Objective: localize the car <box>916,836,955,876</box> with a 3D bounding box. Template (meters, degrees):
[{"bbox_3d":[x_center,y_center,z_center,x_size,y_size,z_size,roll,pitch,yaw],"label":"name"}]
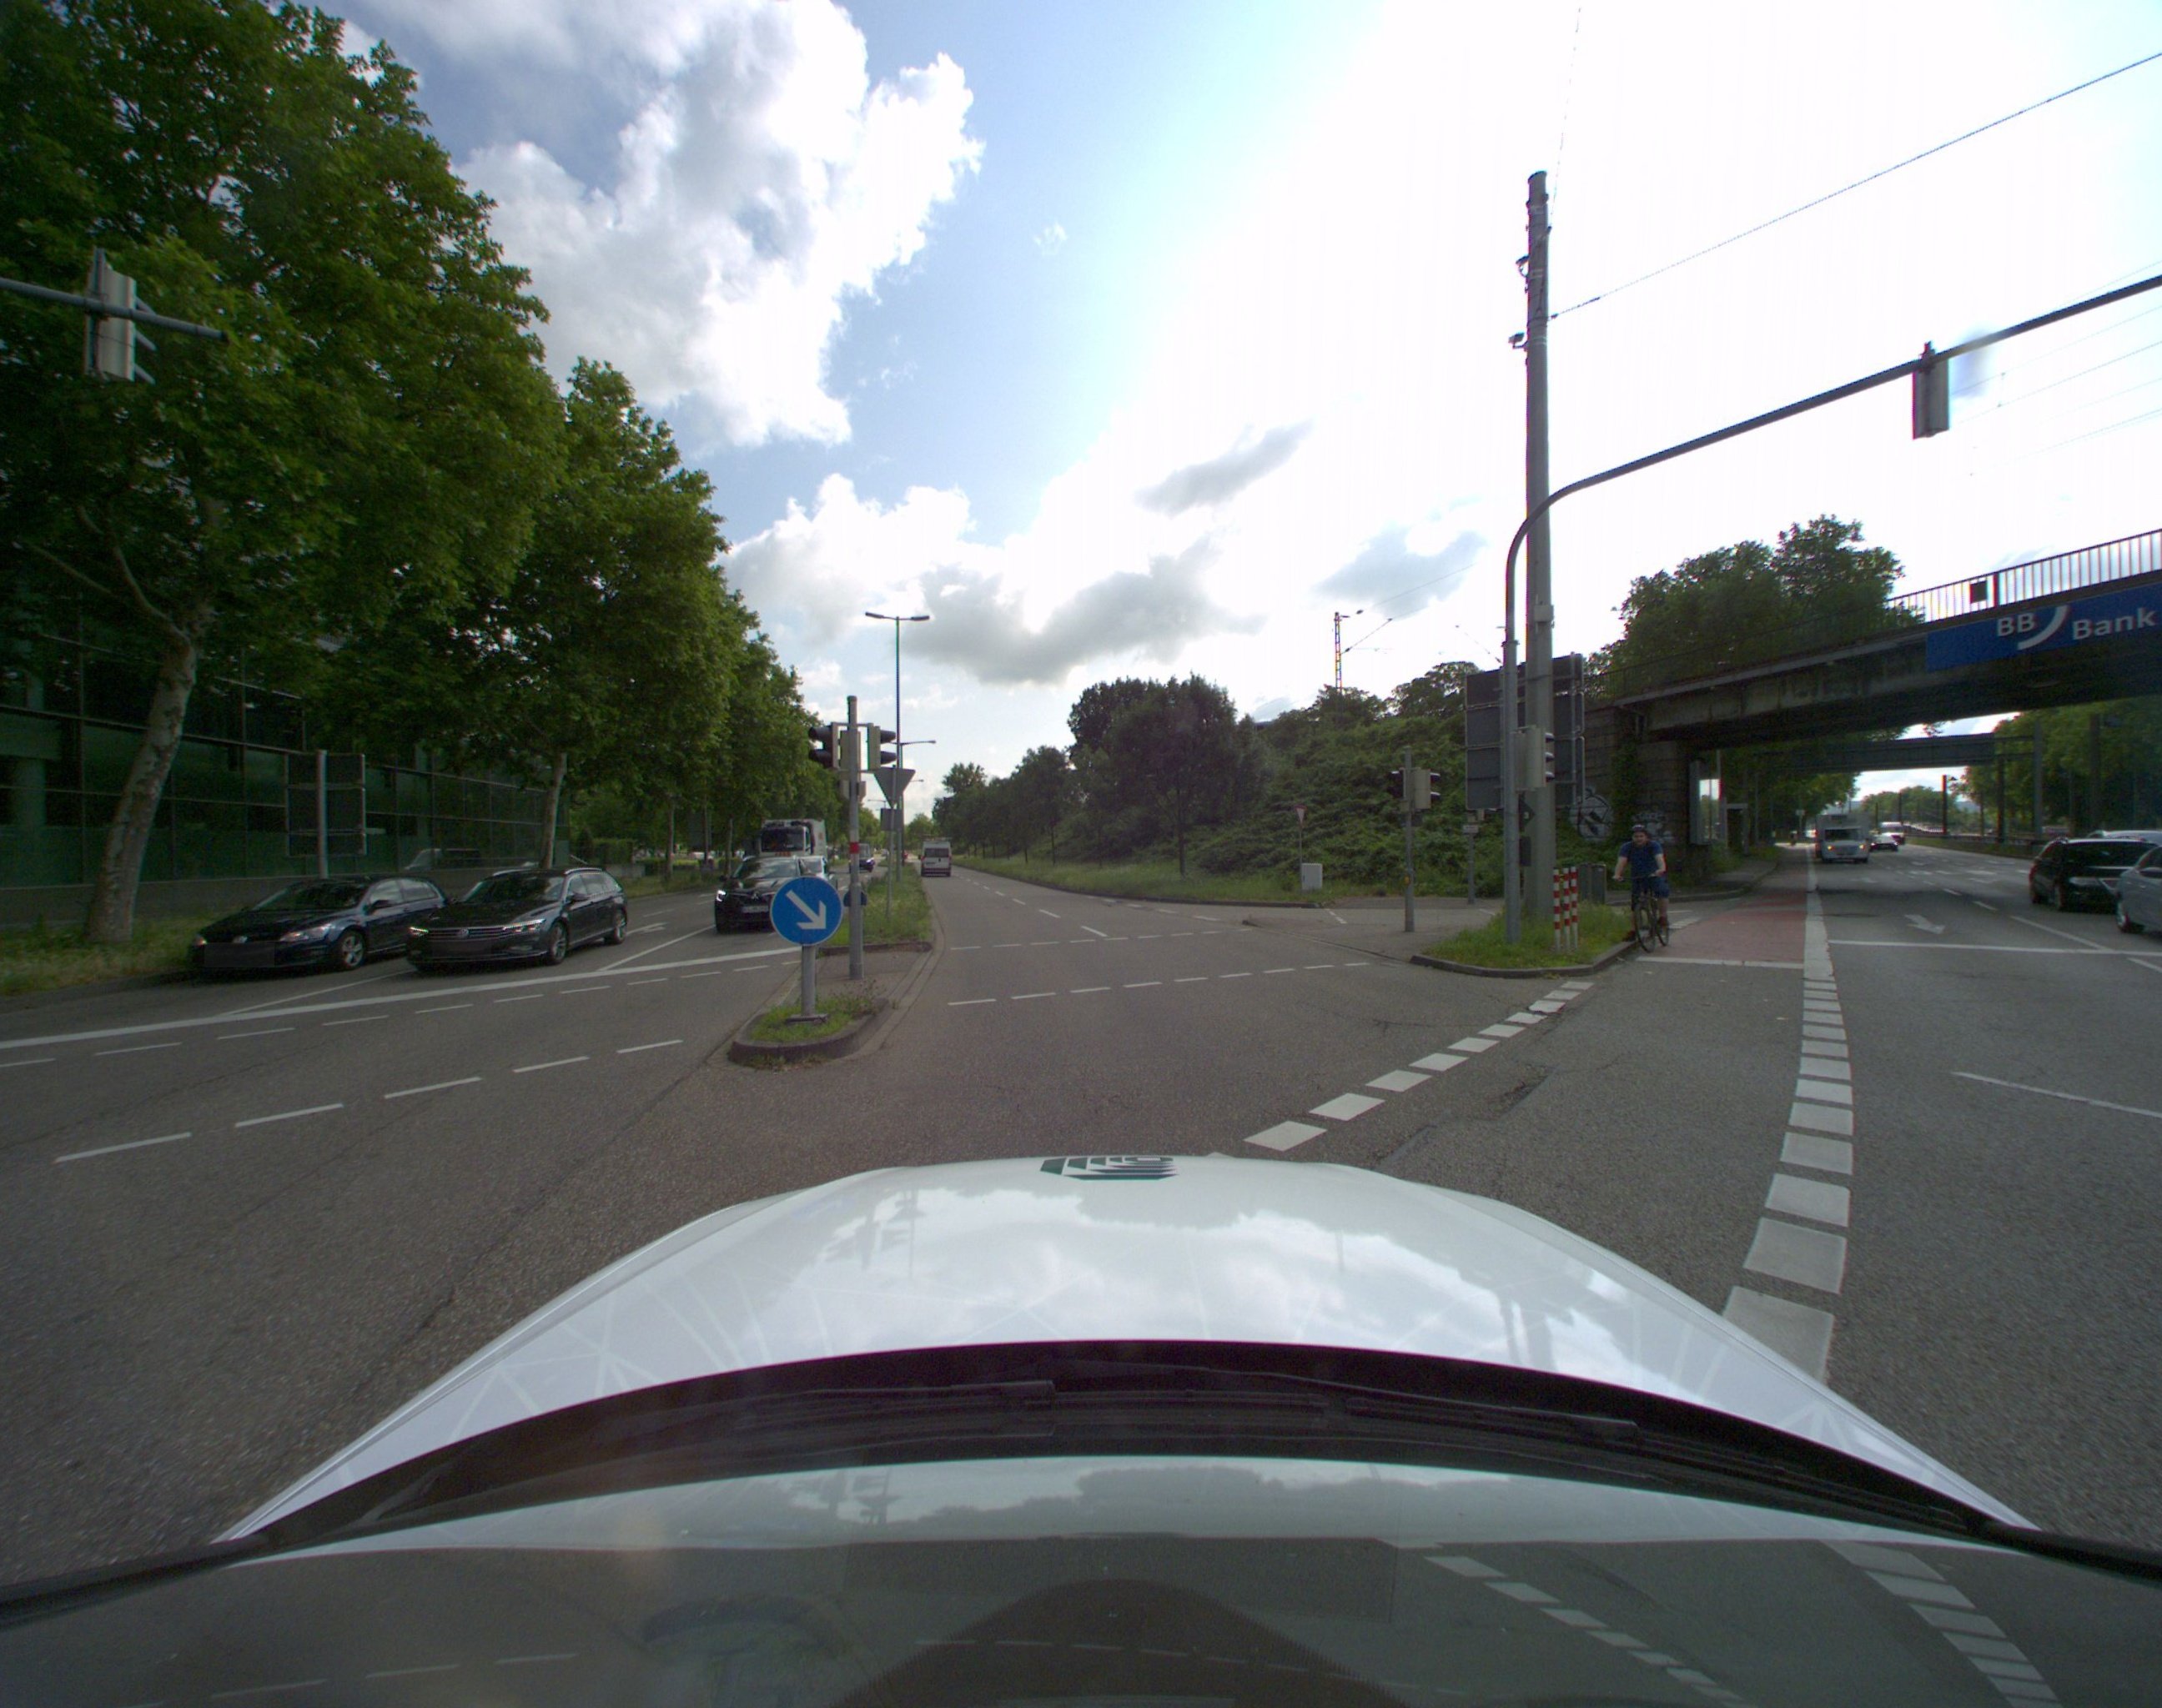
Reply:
[{"bbox_3d":[-10.463,0.135,58.253,2.202,2.726,4.905,-2,0,-16],"label":"car"}]

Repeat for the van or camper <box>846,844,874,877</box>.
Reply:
[{"bbox_3d":[-20.105,0.584,74.321,2.108,2.659,6.685,-4,1,-14],"label":"van or camper"}]

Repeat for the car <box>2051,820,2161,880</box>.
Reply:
[{"bbox_3d":[30.938,-0.146,24.432,1.831,1.575,4.343,-2,1,43],"label":"car"}]

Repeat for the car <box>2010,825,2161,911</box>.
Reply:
[{"bbox_3d":[21.585,0.215,17.184,1.748,1.583,4.694,-1,1,38],"label":"car"}]

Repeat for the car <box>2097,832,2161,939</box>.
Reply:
[{"bbox_3d":[16.172,0.414,11.431,1.686,1.476,4.025,-1,-1,41],"label":"car"}]

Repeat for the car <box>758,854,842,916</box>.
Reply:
[{"bbox_3d":[-8.372,0.865,24.576,1.746,1.552,4.216,-5,1,-12],"label":"car"}]

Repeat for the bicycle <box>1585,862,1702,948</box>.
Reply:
[{"bbox_3d":[8.281,0.695,11.948,2.330,1.093,0.835,-2,0,-41],"label":"bicycle"}]

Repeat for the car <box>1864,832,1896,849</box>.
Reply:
[{"bbox_3d":[69.856,-1.209,71.208,1.699,1.442,4.025,-1,0,40],"label":"car"}]

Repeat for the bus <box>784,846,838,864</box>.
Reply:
[{"bbox_3d":[-60.503,0.214,182.355,12.187,3.274,3.137,-4,0,23],"label":"bus"}]

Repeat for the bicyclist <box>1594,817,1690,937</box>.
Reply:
[{"bbox_3d":[8.244,0.345,11.975,0.828,1.679,0.835,-1,-5,-40],"label":"bicyclist"}]

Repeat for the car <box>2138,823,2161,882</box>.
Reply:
[{"bbox_3d":[26.944,-0.044,19.350,1.630,1.398,3.761,-2,1,43],"label":"car"}]

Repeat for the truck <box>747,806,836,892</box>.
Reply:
[{"bbox_3d":[-15.118,-0.267,43.306,2.651,3.887,10.122,-4,1,-11],"label":"truck"}]

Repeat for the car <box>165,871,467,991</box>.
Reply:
[{"bbox_3d":[-12.150,1.115,13.350,1.730,1.572,3.983,-2,-1,-12],"label":"car"}]

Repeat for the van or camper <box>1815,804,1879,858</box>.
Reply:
[{"bbox_3d":[47.084,-1.435,49.995,2.632,3.080,5.783,-2,1,45],"label":"van or camper"}]

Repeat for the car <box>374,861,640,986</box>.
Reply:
[{"bbox_3d":[-9.151,0.972,13.546,1.866,1.574,4.550,-3,1,-12],"label":"car"}]

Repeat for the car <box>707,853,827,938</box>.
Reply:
[{"bbox_3d":[-6.890,0.808,18.319,1.708,1.587,4.346,-3,1,-11],"label":"car"}]

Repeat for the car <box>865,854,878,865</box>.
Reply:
[{"bbox_3d":[-32.780,0.842,127.257,1.817,1.639,4.330,-5,1,-14],"label":"car"}]
